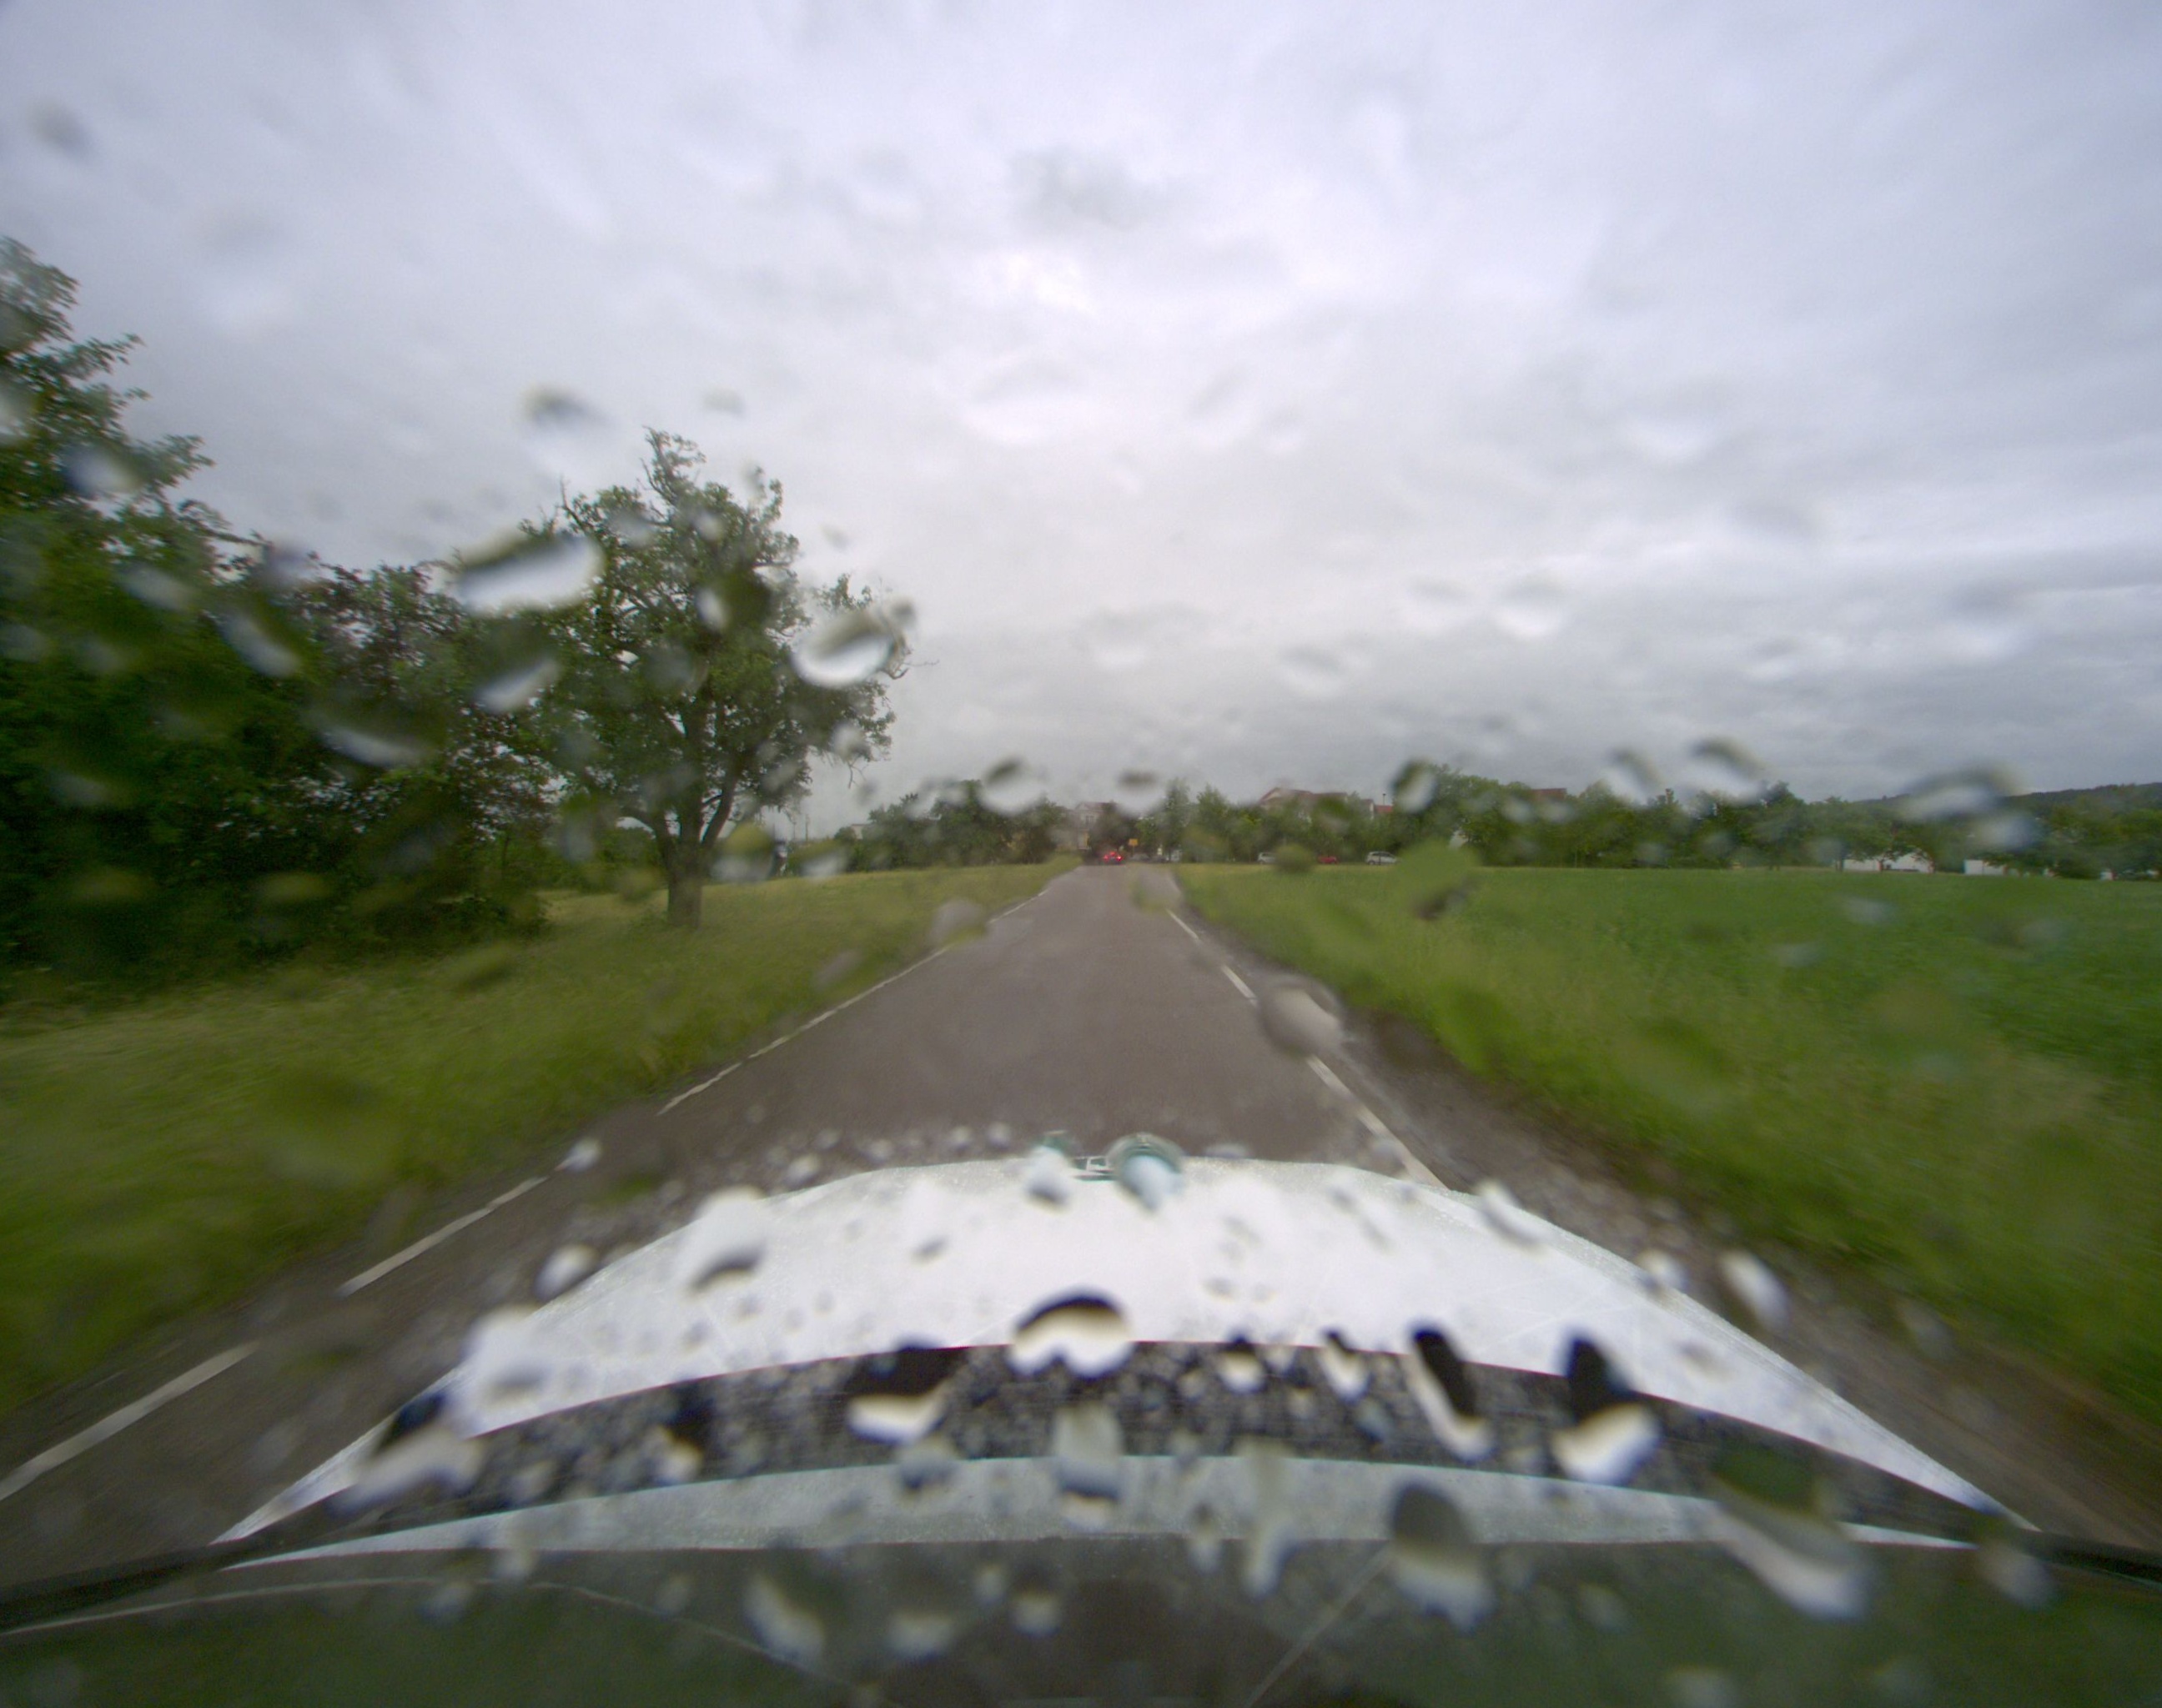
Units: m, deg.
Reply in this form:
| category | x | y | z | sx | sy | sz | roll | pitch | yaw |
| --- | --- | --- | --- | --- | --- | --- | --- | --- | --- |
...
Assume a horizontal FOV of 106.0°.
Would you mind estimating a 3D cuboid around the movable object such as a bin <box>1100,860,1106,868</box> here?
| category | x | y | z | sx | sy | sz | roll | pitch | yaw |
| --- | --- | --- | --- | --- | --- | --- | --- | --- | --- |
| movable object such as a bin | 3.019 | 1.326 | 110.830 | 0.688 | 1.075 | 0.605 | -1 | -1 | 22 |

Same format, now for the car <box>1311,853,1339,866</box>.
| category | x | y | z | sx | sy | sz | roll | pitch | yaw |
| --- | --- | --- | --- | --- | --- | --- | --- | --- | --- |
| car | 27.314 | 0.584 | 91.123 | 2.977 | 1.436 | 1.561 | 0 | -1 | 19 |

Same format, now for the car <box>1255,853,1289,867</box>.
| category | x | y | z | sx | sy | sz | roll | pitch | yaw |
| --- | --- | --- | --- | --- | --- | --- | --- | --- | --- |
| car | 21.781 | 0.684 | 92.815 | 3.513 | 1.479 | 1.688 | -1 | -2 | 19 |

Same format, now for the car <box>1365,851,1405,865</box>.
| category | x | y | z | sx | sy | sz | roll | pitch | yaw |
| --- | --- | --- | --- | --- | --- | --- | --- | --- | --- |
| car | 33.338 | 0.416 | 89.448 | 3.948 | 1.552 | 1.859 | 0 | -1 | 14 |

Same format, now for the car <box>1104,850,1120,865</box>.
| category | x | y | z | sx | sy | sz | roll | pitch | yaw |
| --- | --- | --- | --- | --- | --- | --- | --- | --- | --- |
| car | 3.475 | 0.426 | 90.789 | 1.680 | 1.552 | 3.698 | -1 | -1 | 2 |

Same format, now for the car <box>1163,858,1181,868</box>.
| category | x | y | z | sx | sy | sz | roll | pitch | yaw |
| --- | --- | --- | --- | --- | --- | --- | --- | --- | --- |
| car | 14.757 | 1.465 | 131.582 | 1.496 | 1.476 | 3.294 | 1 | 0 | 33 |

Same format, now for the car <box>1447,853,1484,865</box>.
| category | x | y | z | sx | sy | sz | roll | pitch | yaw |
| --- | --- | --- | --- | --- | --- | --- | --- | --- | --- |
| car | 41.233 | 0.519 | 87.406 | 3.294 | 1.281 | 1.740 | -1 | -1 | 13 |

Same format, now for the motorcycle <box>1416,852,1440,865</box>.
| category | x | y | z | sx | sy | sz | roll | pitch | yaw |
| --- | --- | --- | --- | --- | --- | --- | --- | --- | --- |
| motorcycle | 37.417 | 0.470 | 87.911 | 2.241 | 1.302 | 0.975 | 0 | 0 | 13 |

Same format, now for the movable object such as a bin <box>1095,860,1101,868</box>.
| category | x | y | z | sx | sy | sz | roll | pitch | yaw |
| --- | --- | --- | --- | --- | --- | --- | --- | --- | --- |
| movable object such as a bin | 2.306 | 1.326 | 111.116 | 0.659 | 1.073 | 0.546 | -1 | -1 | 23 |

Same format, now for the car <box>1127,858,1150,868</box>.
| category | x | y | z | sx | sy | sz | roll | pitch | yaw |
| --- | --- | --- | --- | --- | --- | --- | --- | --- | --- |
| car | 8.571 | 1.330 | 122.150 | 1.758 | 1.518 | 4.163 | 1 | 0 | 30 |

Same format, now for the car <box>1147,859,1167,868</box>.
| category | x | y | z | sx | sy | sz | roll | pitch | yaw |
| --- | --- | --- | --- | --- | --- | --- | --- | --- | --- |
| car | 11.880 | 1.450 | 126.992 | 1.619 | 1.409 | 3.627 | 1 | 0 | 32 |
